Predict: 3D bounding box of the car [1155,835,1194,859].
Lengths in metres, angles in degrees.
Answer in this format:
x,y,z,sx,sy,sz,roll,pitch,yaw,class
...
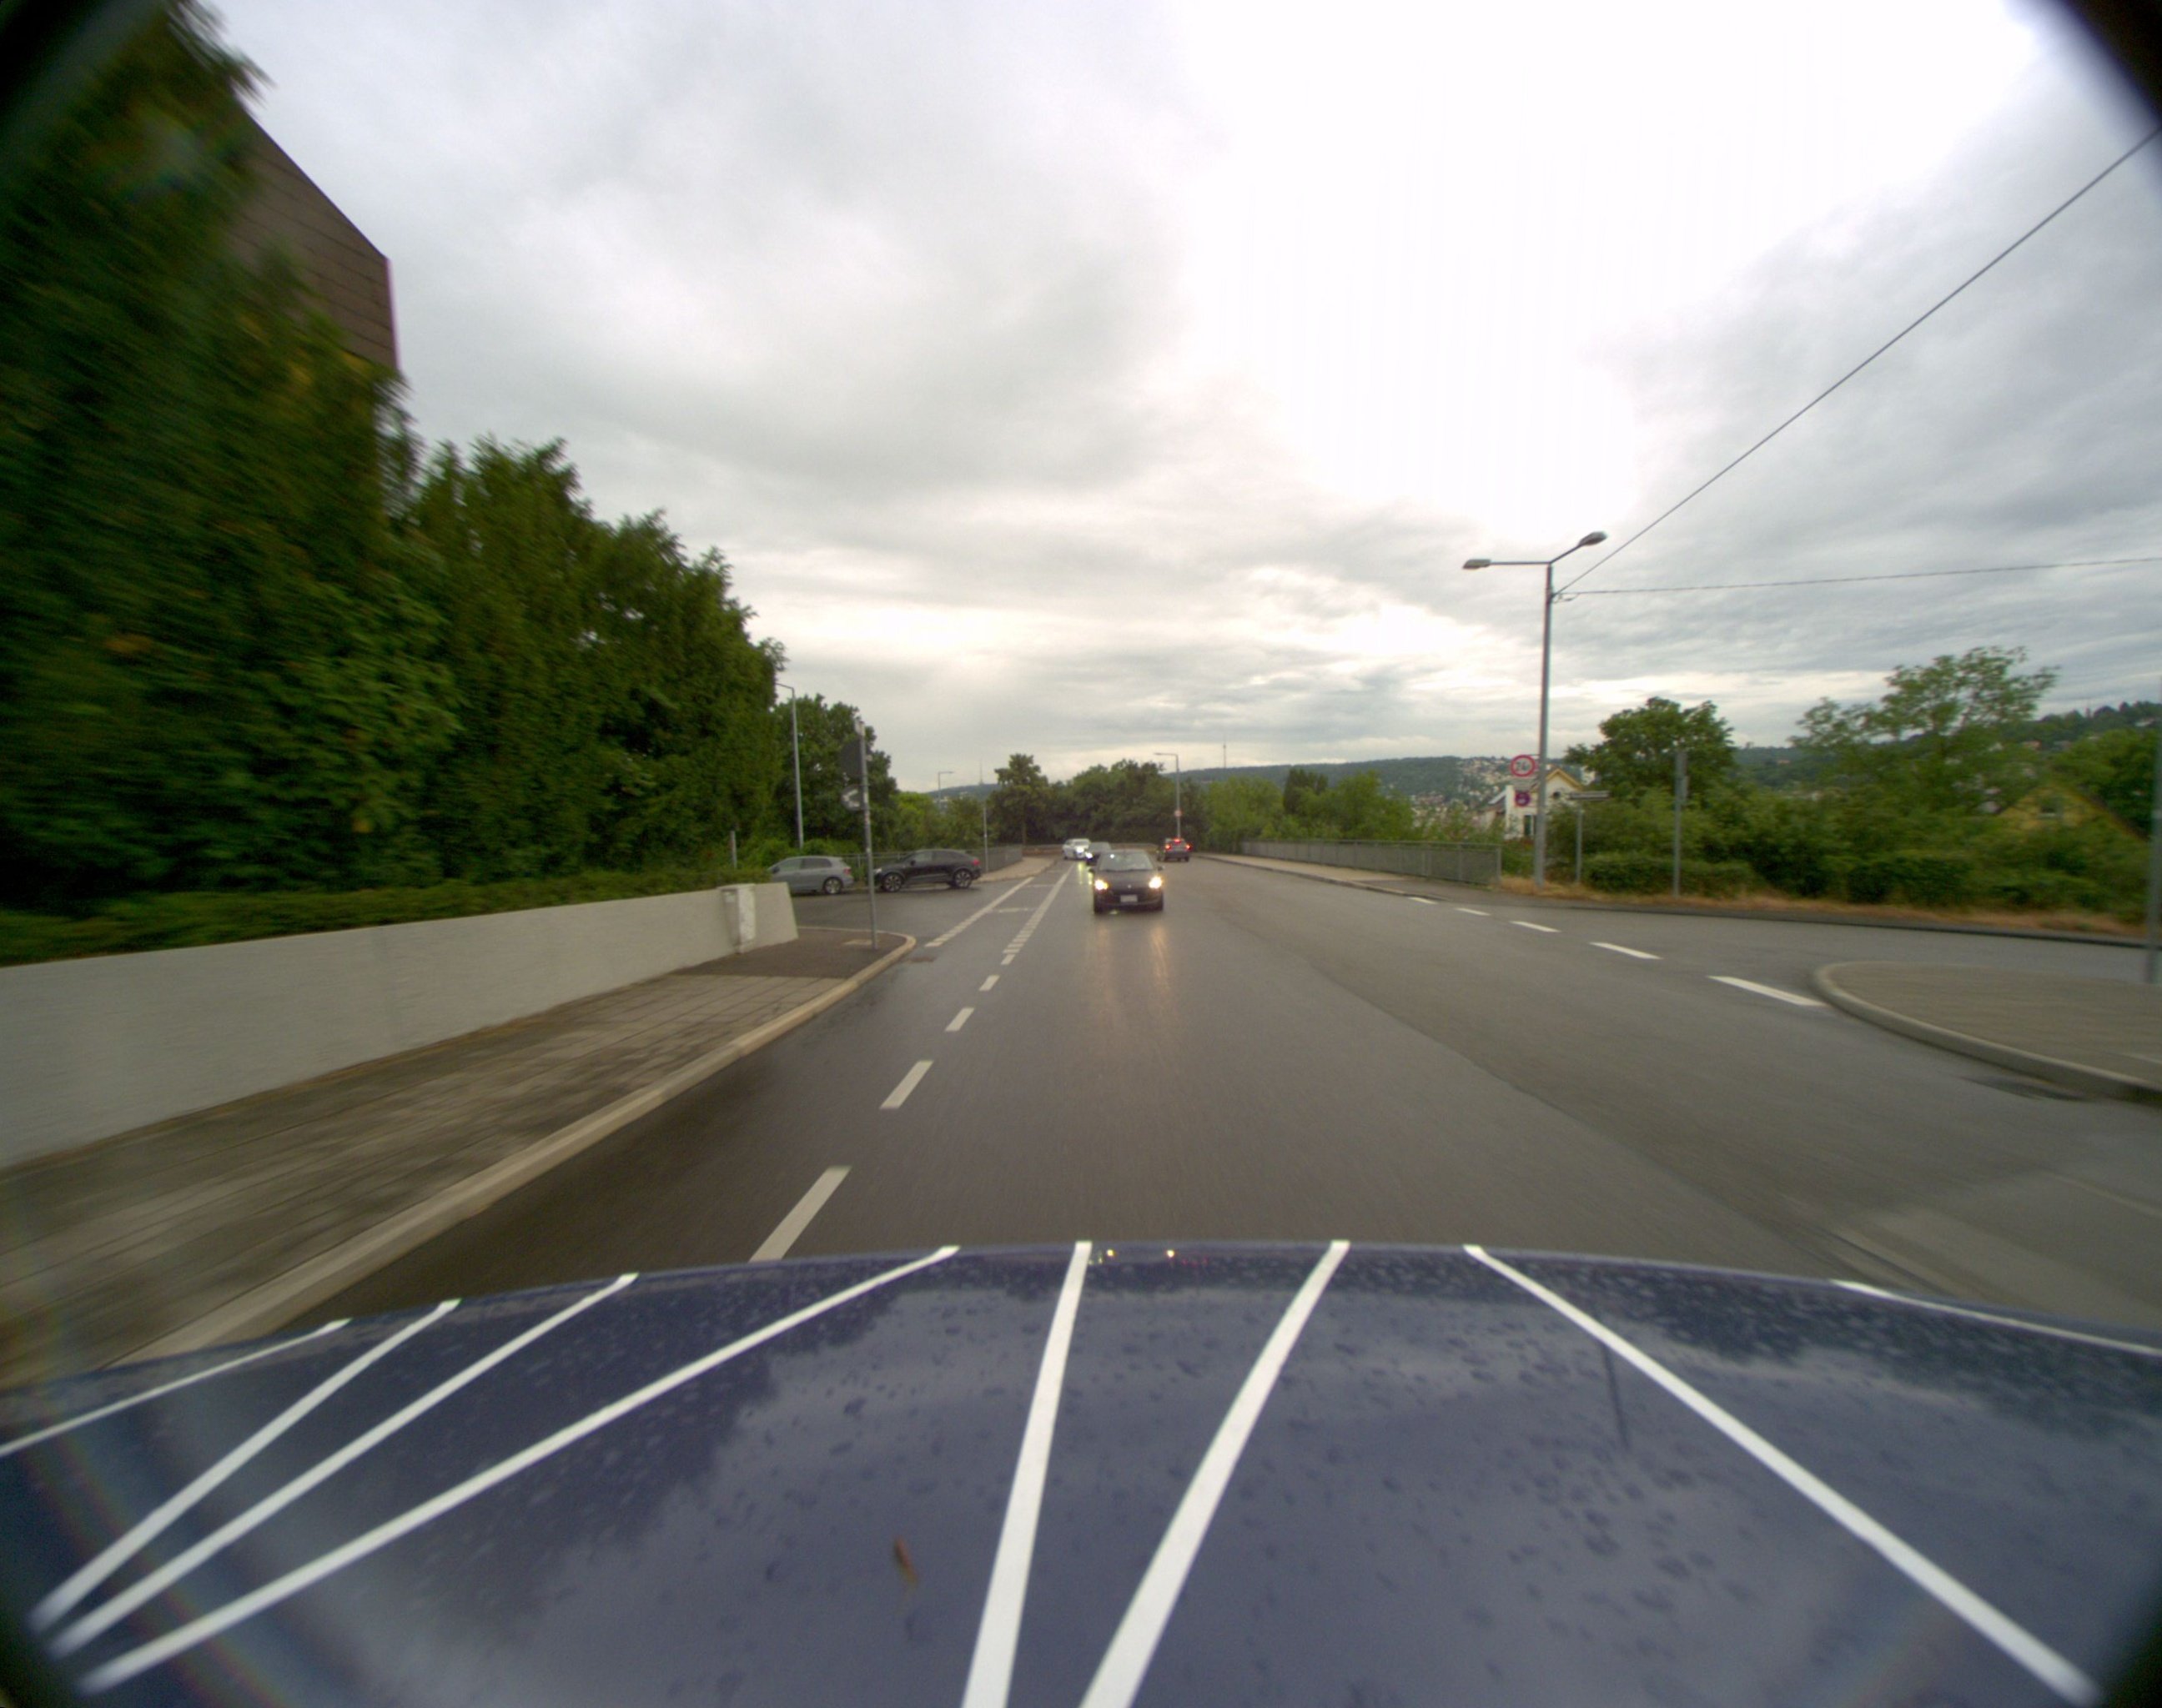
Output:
x,y,z,sx,sy,sz,roll,pitch,yaw,class
6.334,-0.523,51.741,1.739,1.537,3.996,-1,2,-6,car

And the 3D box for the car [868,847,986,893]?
x,y,z,sx,sy,sz,roll,pitch,yaw,class
-6.043,0.593,29.784,4.206,1.514,1.996,-3,1,-22,car

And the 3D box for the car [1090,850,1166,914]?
x,y,z,sx,sy,sz,roll,pitch,yaw,class
1.230,0.626,19.054,1.680,1.405,3.638,-2,1,5,car

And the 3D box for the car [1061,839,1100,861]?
x,y,z,sx,sy,sz,roll,pitch,yaw,class
-0.060,-0.366,60.718,1.891,1.566,4.585,-3,2,-16,car

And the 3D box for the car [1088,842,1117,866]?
x,y,z,sx,sy,sz,roll,pitch,yaw,class
1.378,-0.047,49.268,1.766,1.445,4.399,-1,1,0,car

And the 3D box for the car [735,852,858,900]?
x,y,z,sx,sy,sz,roll,pitch,yaw,class
-10.424,0.770,28.014,4.060,1.417,1.797,-3,3,-21,car
